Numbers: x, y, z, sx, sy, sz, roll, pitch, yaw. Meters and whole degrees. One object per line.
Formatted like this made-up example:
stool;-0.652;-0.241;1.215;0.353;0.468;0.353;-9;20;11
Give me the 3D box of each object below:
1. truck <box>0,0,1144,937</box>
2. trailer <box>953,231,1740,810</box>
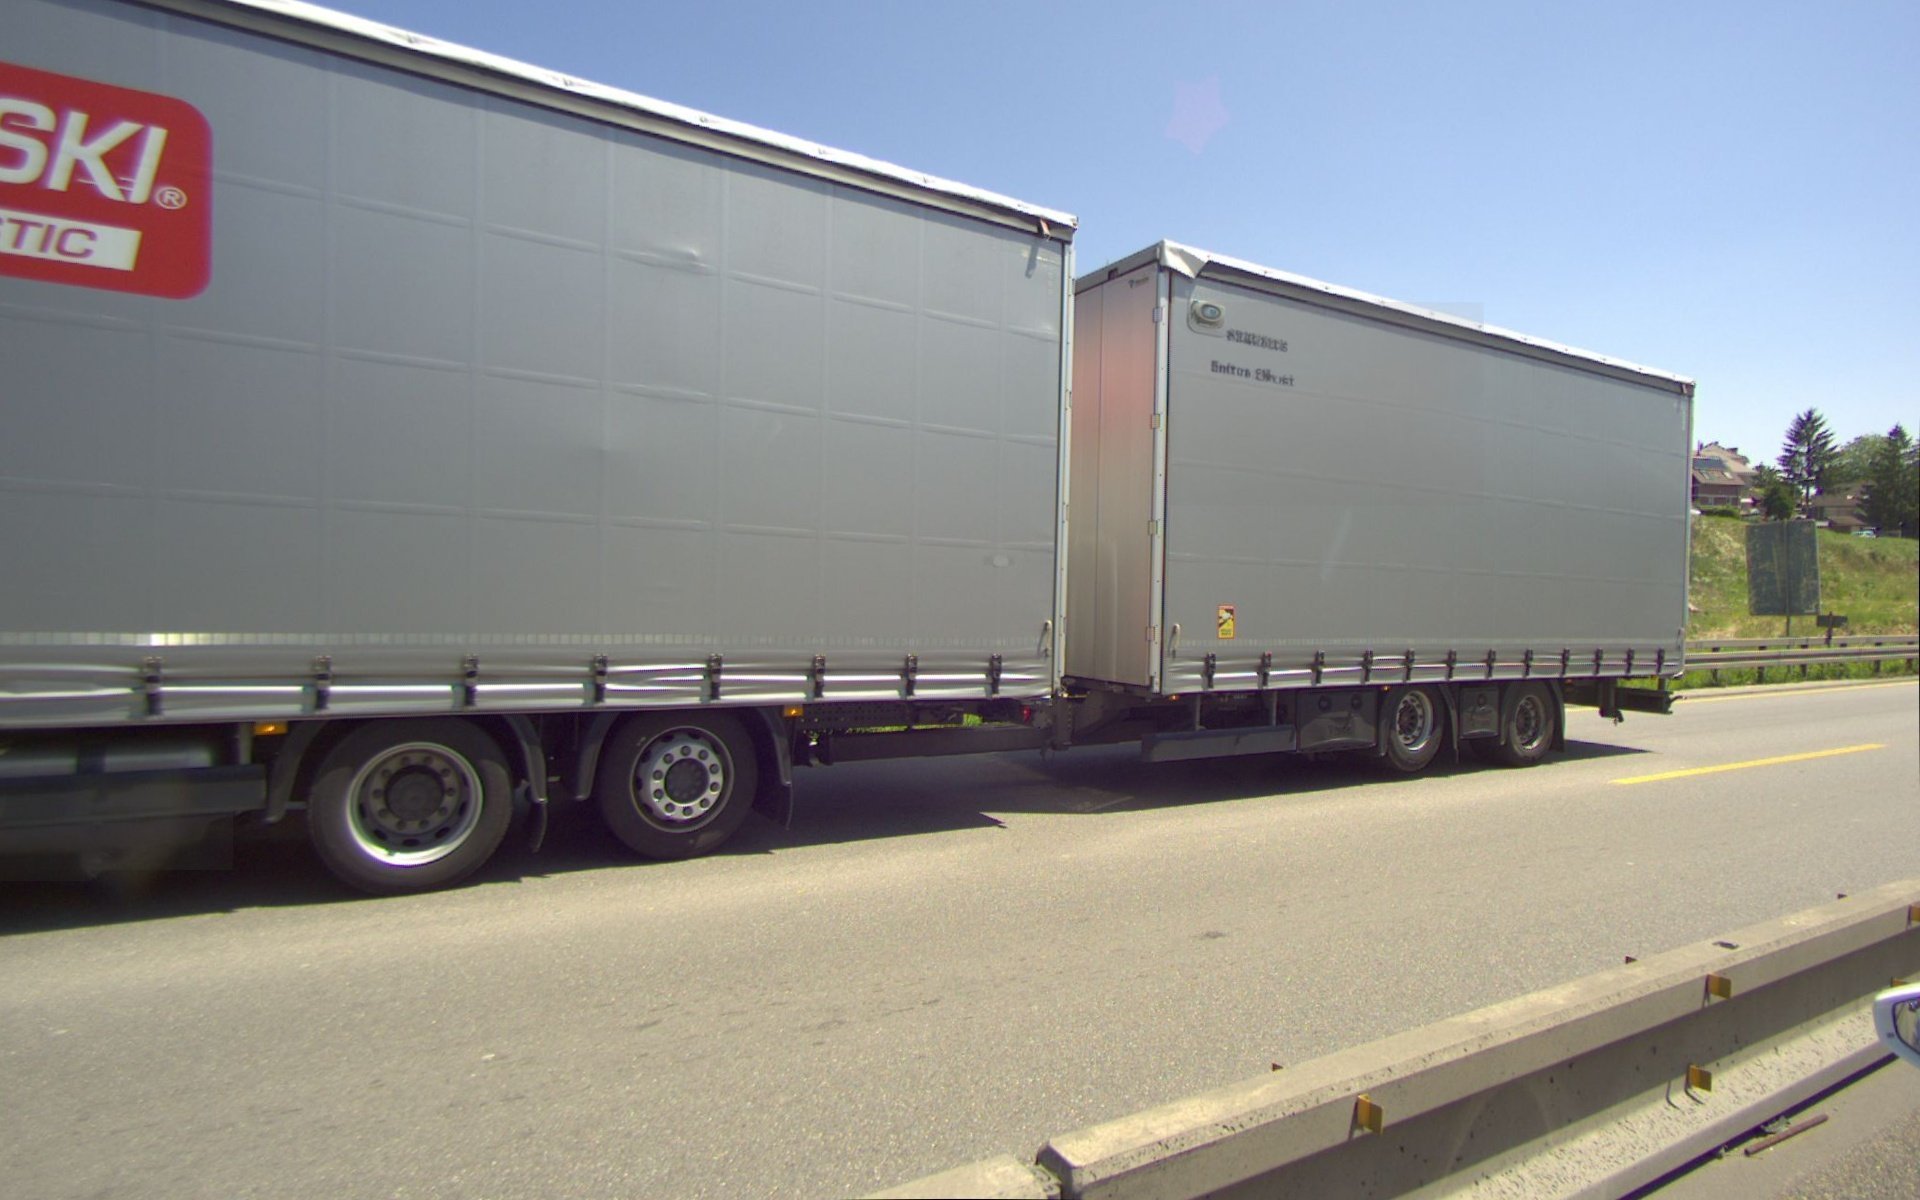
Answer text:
truck;-3.841;-0.882;5.485;10.263;4.455;2.608;1;0;-30
trailer;4.398;-0.477;10.493;8.605;4.042;2.914;1;0;-31
